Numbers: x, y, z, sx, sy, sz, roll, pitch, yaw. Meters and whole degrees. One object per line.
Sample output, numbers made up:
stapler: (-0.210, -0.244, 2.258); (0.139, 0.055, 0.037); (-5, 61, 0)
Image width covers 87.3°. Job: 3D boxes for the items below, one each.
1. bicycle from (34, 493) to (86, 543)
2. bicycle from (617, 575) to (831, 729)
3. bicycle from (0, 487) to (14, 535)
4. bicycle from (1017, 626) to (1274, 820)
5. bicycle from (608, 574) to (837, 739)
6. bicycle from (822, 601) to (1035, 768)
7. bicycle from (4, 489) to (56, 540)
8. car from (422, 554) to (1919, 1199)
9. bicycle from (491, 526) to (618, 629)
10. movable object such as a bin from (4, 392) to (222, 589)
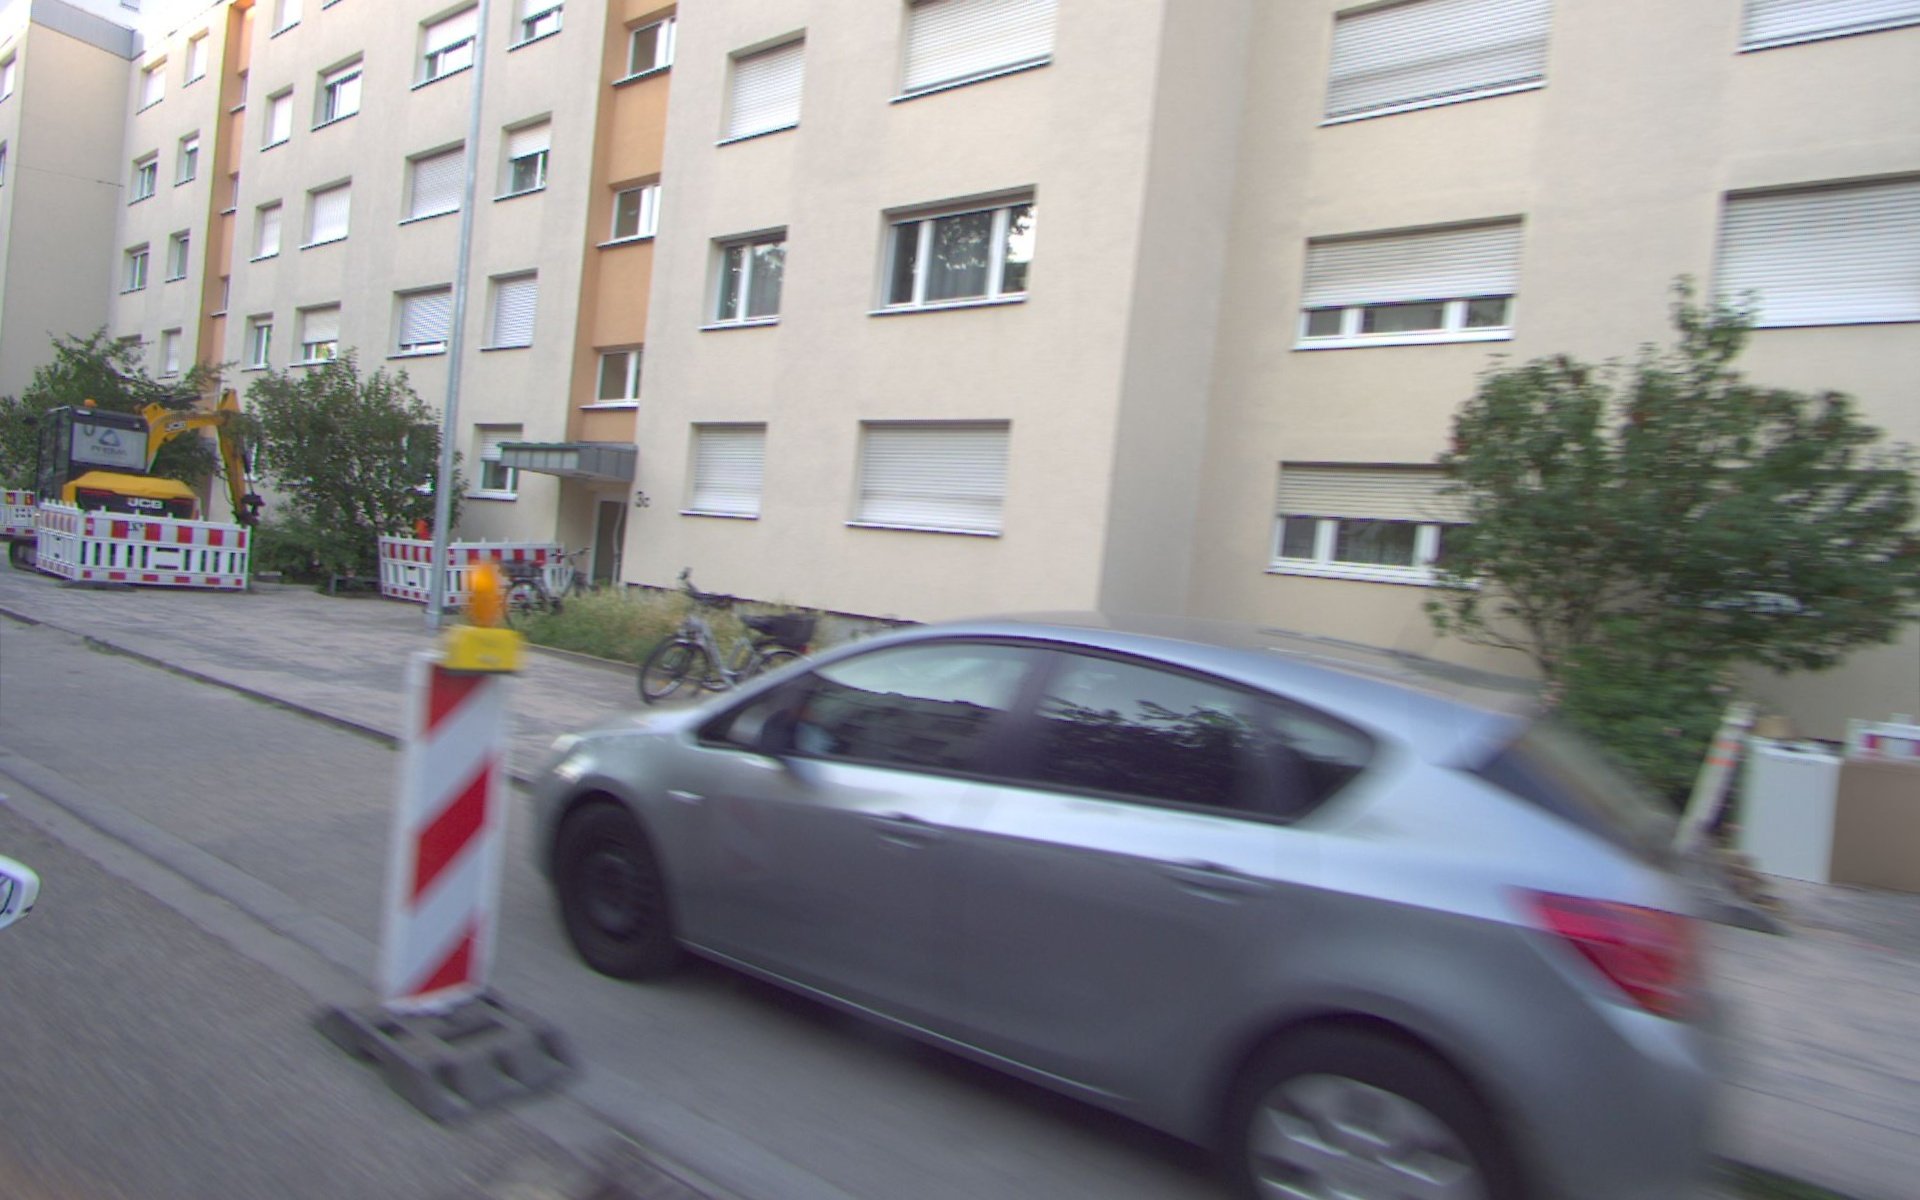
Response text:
bicycle: (-24.071, -2.195, 26.887); (1.788, 1.186, 0.556); (7, 1, 34)
bicycle: (-2.234, 0.475, 9.552); (1.782, 1.186, 0.628); (7, 1, 15)
bicycle: (-25.126, -2.355, 25.985); (1.788, 1.186, 0.556); (7, 1, 34)
bicycle: (1.418, 0.906, 7.883); (1.788, 1.186, 0.556); (7, 1, 34)
bicycle: (-2.083, 0.477, 8.848); (1.782, 1.186, 0.558); (7, 1, 12)
bicycle: (-0.308, 0.708, 8.902); (1.788, 1.186, 0.556); (7, 1, 34)
bicycle: (-24.421, -2.253, 26.400); (1.788, 1.186, 0.556); (7, 1, 34)
car: (0.166, 0.785, 3.660); (4.498, 1.512, 1.774); (7, 4, 33)
bicycle: (-5.498, -0.274, 13.737); (0.476, 1.237, 1.596); (7, 0, 25)
movable object such as a bin: (-13.702, -1.738, 16.267); (2.847, 2.727, 1.933); (7, 1, 36)
